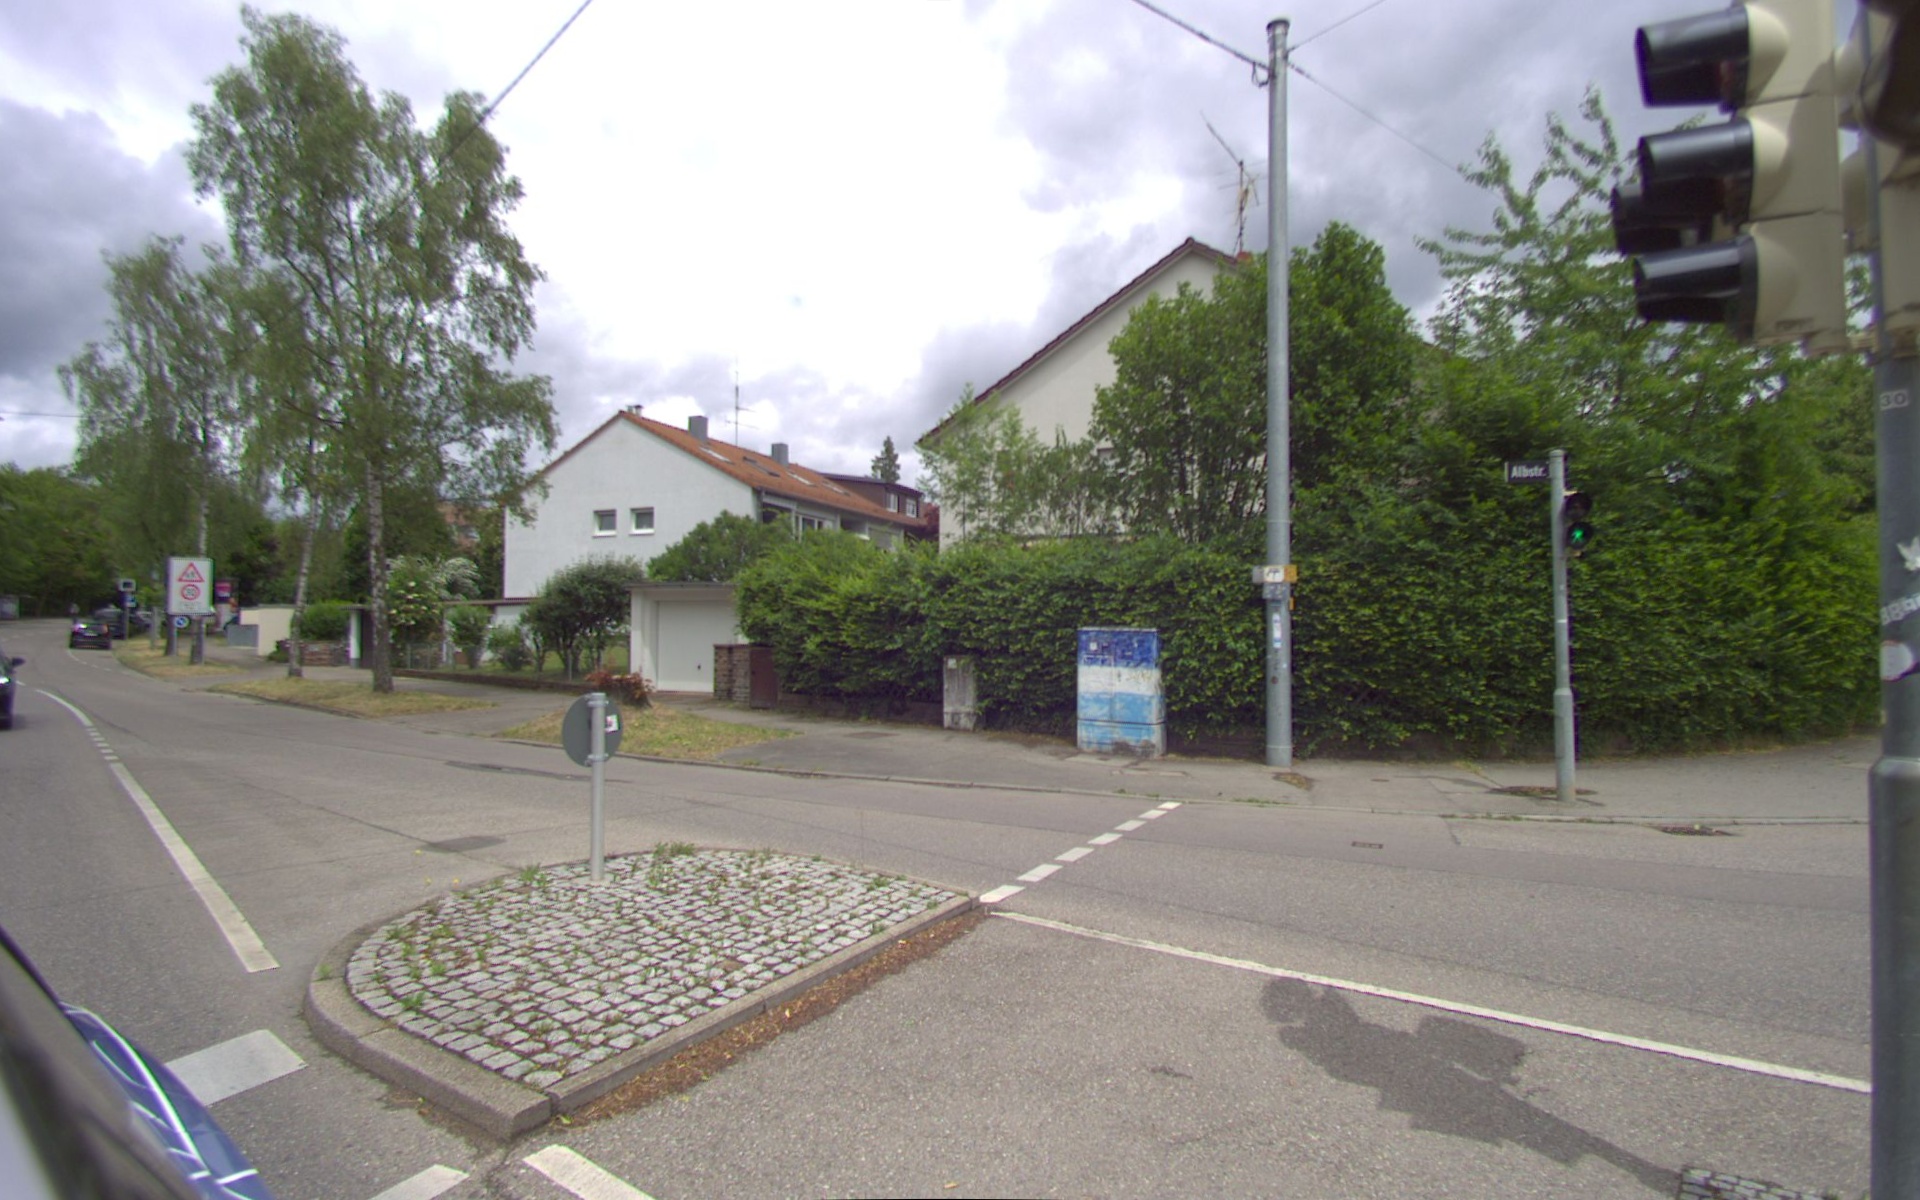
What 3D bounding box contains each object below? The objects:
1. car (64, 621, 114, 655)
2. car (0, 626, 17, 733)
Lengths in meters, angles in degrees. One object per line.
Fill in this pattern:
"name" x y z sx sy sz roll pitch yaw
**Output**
"car" -48.356 2.079 56.242 1.945 1.621 4.426 5 -2 -40
"car" -16.640 1.231 16.343 1.969 1.630 4.004 2 -3 -42
